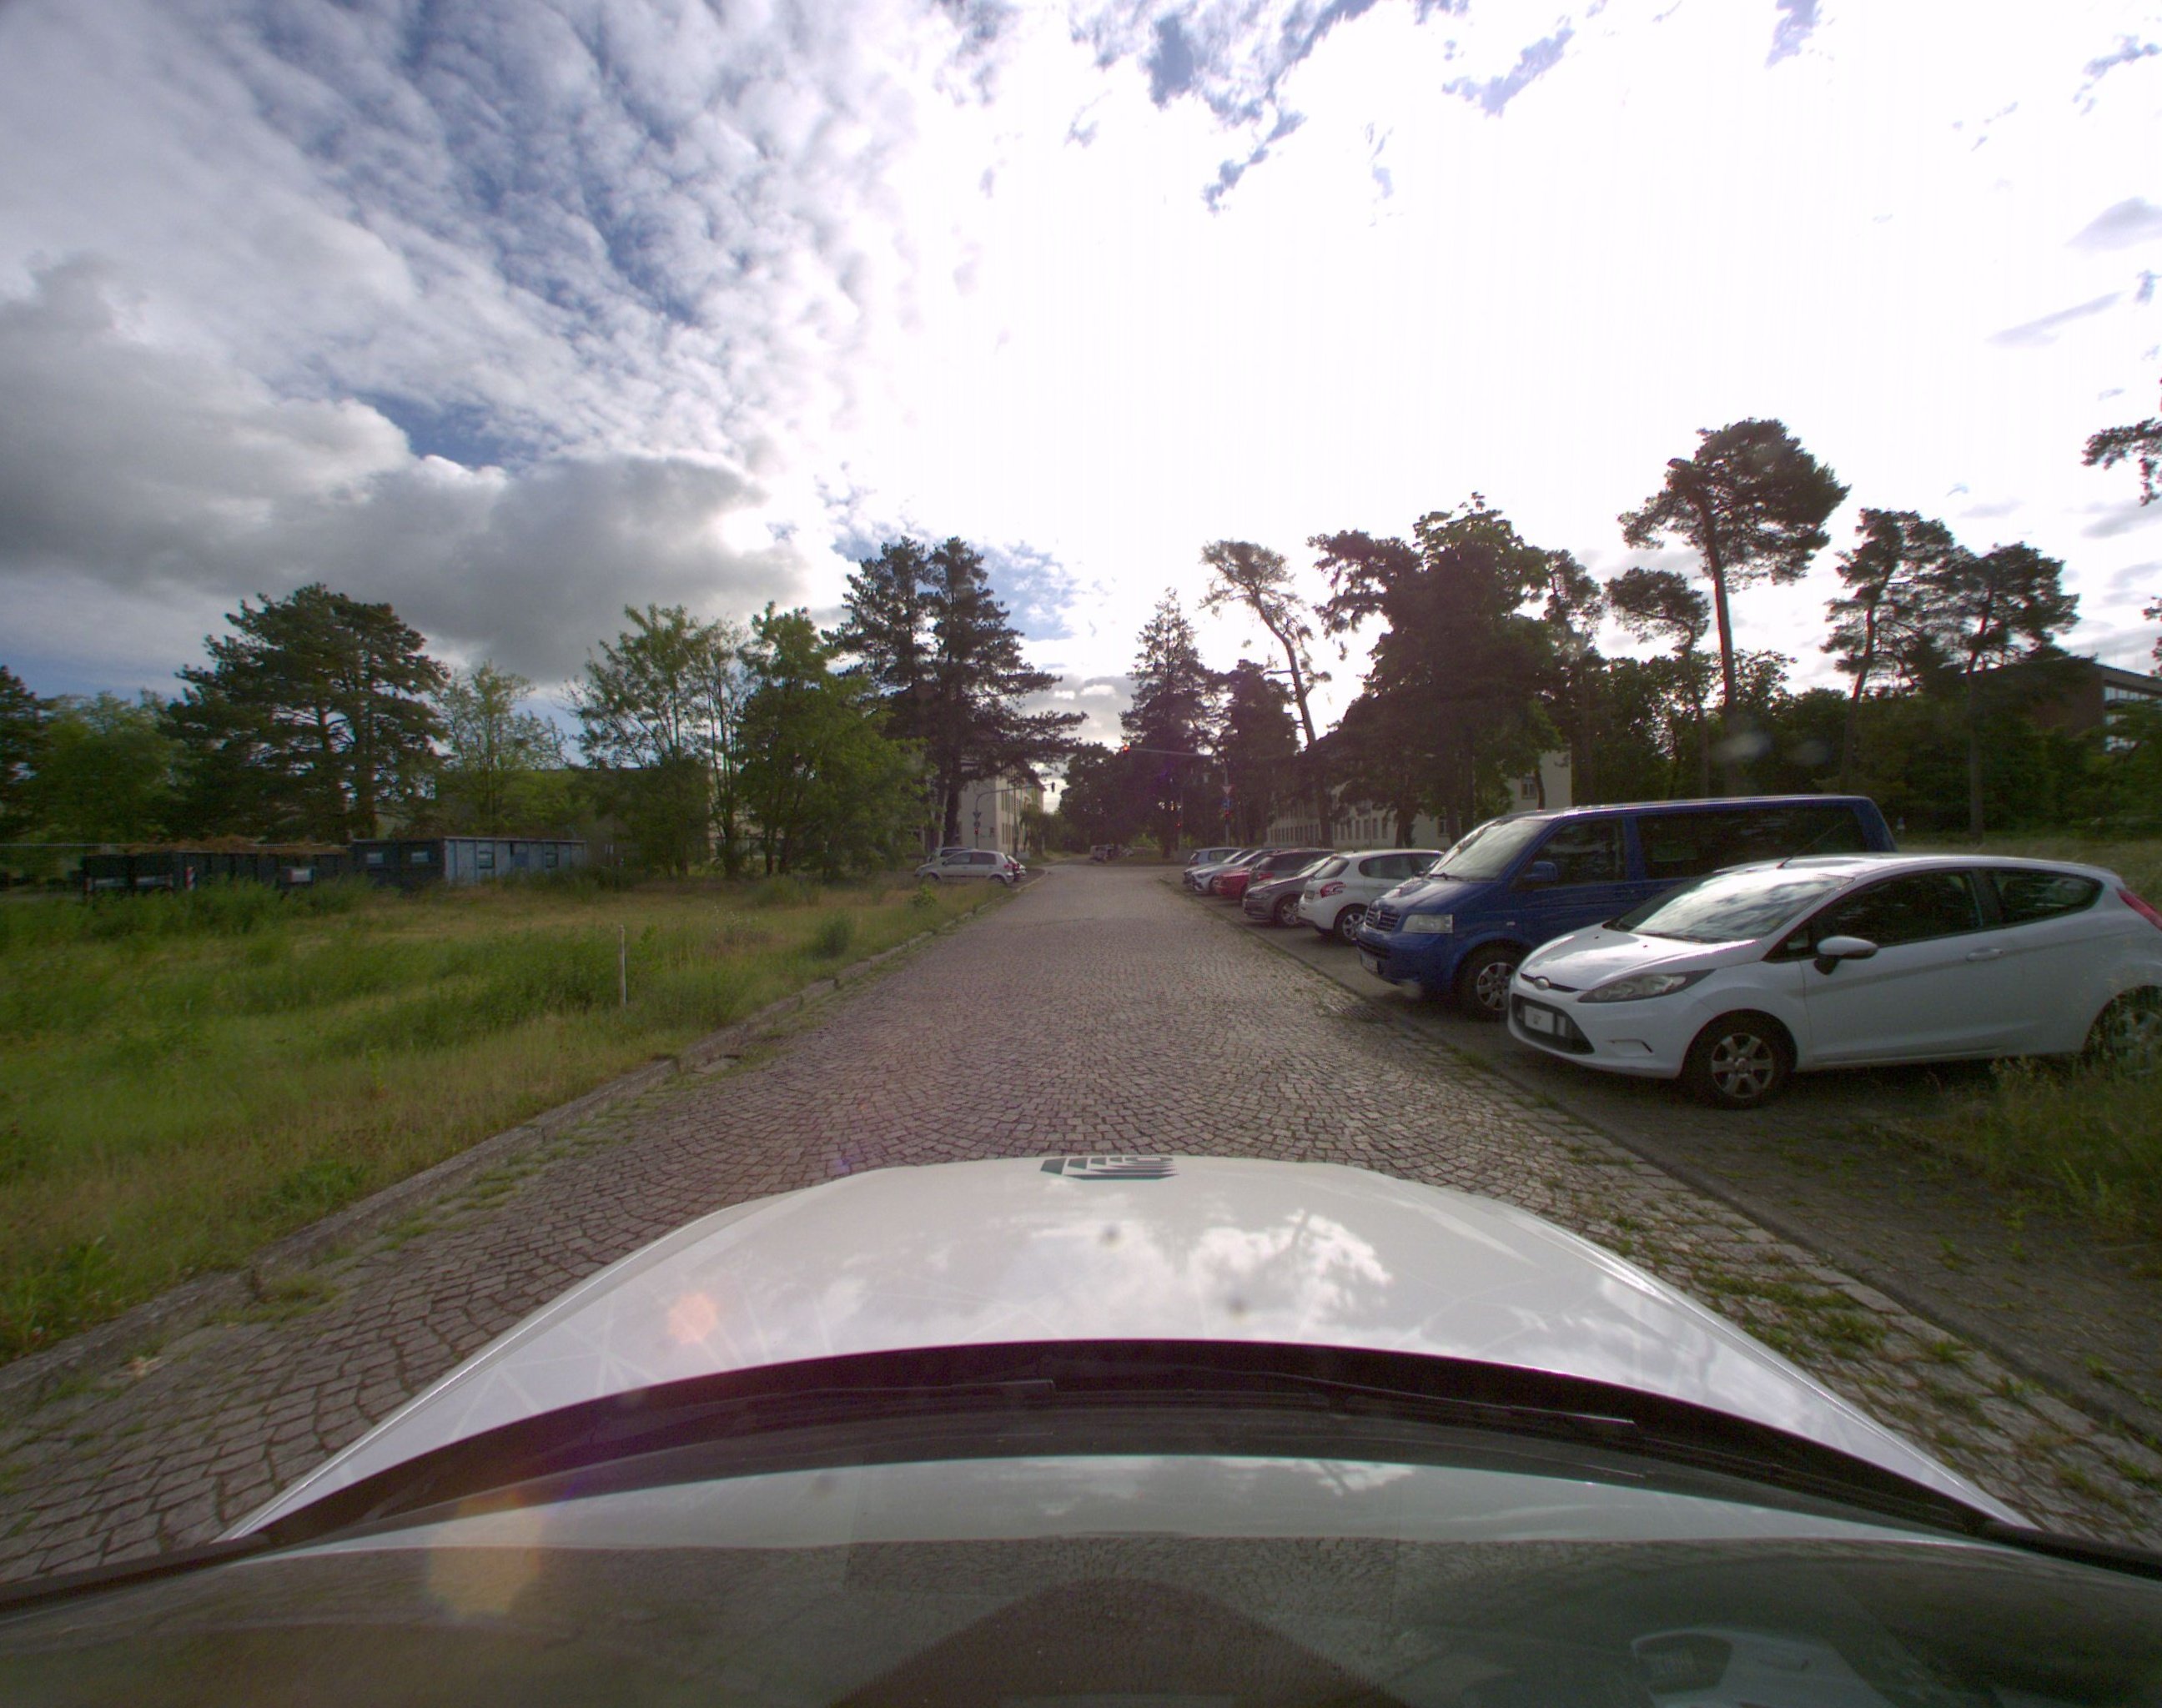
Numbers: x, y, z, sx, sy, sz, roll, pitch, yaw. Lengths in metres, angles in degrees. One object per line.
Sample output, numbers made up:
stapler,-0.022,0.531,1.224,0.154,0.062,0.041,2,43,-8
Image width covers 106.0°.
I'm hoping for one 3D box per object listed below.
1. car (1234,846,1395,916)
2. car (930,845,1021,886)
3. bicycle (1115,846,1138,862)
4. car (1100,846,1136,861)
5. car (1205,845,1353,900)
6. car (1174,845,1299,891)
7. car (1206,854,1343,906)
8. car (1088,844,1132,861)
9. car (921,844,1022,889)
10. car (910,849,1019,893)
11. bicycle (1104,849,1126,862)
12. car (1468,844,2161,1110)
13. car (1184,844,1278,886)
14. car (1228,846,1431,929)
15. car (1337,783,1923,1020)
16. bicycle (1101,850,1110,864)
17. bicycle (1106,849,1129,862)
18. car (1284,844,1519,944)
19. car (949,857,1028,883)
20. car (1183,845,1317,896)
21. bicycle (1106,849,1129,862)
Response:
car,5.523,0.602,19.427,3.292,1.504,1.659,-1,1,-10
car,-4.733,0.491,36.873,3.982,1.750,1.923,-1,0,-6
bicycle,4.582,0.007,82.307,2.157,1.615,0.811,-1,0,-6
car,4.348,-0.033,95.562,3.981,1.644,1.997,-1,0,-5
car,5.874,0.529,24.387,3.980,1.543,1.661,-1,0,-5
car,5.575,0.481,29.439,4.116,1.543,1.661,-1,1,-5
car,5.206,0.683,22.146,3.287,1.267,1.661,-1,1,-5
car,3.457,-0.156,98.848,5.050,2.013,1.994,-1,0,-10
car,-4.473,0.485,33.785,3.981,1.706,1.997,-1,1,-5
car,-4.392,0.632,31.294,3.981,1.552,1.997,-1,1,-5
bicycle,3.431,0.181,82.822,2.157,1.268,0.811,-1,0,-6
car,4.970,0.722,5.713,3.712,1.424,1.653,-2,0,-2
car,5.859,0.423,32.007,3.383,1.543,1.389,-1,0,-5
car,4.988,0.619,16.553,3.598,1.506,1.659,-1,1,-10
car,5.241,0.411,8.197,4.768,2.039,1.737,-1,0,-1
bicycle,2.296,0.255,77.271,0.806,1.268,1.974,-1,0,2
bicycle,3.631,0.174,81.019,2.157,1.268,0.811,-1,0,-6
car,5.248,0.618,13.628,3.283,1.504,1.663,-1,1,-1
car,-4.403,0.762,39.055,3.665,1.094,1.643,-1,1,-5
car,5.478,0.503,26.622,3.980,1.543,1.661,-1,1,-5
bicycle,3.640,0.176,81.606,2.157,1.268,0.811,-1,0,-6
